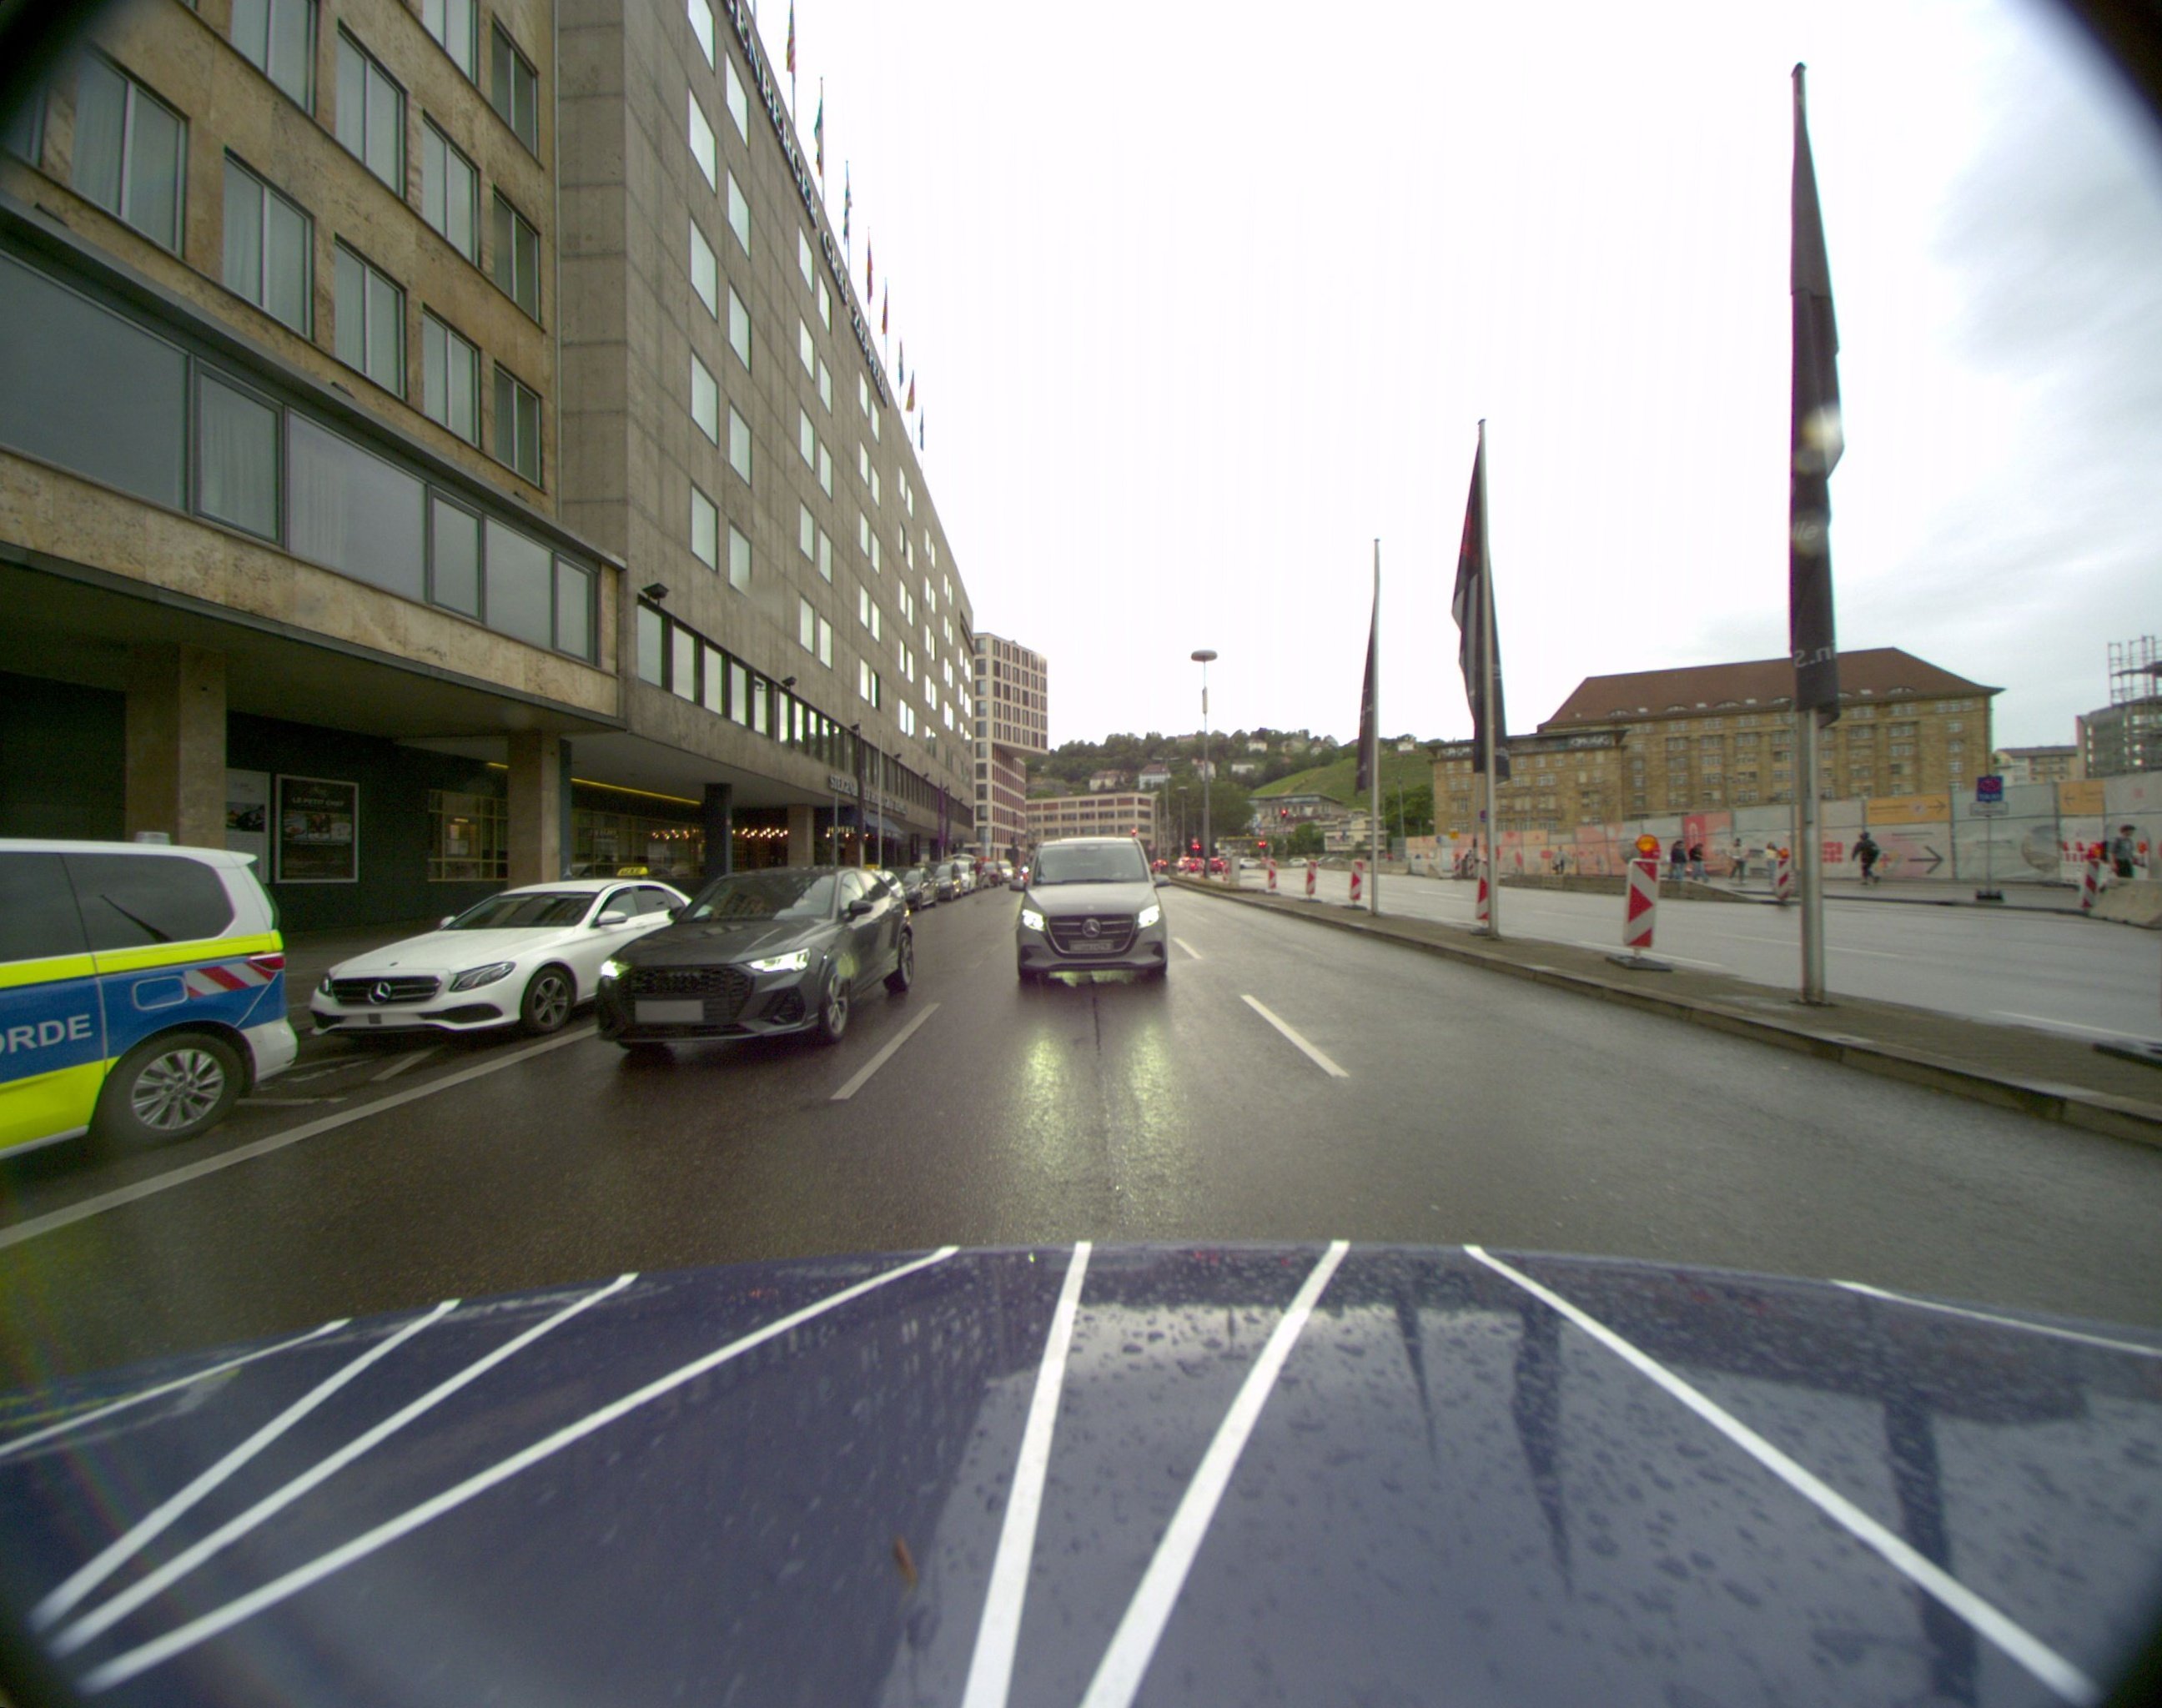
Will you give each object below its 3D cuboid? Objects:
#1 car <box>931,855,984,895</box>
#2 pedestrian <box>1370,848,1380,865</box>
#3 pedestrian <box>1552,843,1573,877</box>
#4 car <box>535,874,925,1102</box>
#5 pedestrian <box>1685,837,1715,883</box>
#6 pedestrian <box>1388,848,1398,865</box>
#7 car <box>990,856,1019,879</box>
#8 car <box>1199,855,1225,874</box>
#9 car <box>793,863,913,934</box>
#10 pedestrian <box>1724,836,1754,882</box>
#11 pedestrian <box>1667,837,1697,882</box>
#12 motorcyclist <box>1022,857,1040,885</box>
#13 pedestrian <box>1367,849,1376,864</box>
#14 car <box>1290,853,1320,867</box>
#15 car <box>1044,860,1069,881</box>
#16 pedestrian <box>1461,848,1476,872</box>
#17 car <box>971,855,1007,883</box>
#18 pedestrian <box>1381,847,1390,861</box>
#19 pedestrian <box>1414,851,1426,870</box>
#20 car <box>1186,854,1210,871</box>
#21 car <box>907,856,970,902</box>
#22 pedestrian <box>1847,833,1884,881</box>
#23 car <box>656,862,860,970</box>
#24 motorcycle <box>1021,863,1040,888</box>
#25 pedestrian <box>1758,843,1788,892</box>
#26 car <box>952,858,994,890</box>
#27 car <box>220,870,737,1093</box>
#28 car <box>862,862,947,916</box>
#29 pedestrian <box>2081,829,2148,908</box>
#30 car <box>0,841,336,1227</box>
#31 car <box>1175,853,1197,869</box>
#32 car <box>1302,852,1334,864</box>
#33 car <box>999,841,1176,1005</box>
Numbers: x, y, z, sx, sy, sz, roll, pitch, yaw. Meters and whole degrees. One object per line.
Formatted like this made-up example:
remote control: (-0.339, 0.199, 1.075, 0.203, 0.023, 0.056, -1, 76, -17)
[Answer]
car: (-6.088, 0.983, 37.958, 1.731, 1.732, 4.814, -2, 0, 0)
pedestrian: (28.229, 0.237, 72.967, 0.715, 1.606, 0.544, -2, 1, 1)
pedestrian: (26.291, 0.312, 41.468, 0.664, 1.825, 0.720, -2, 1, 1)
car: (-3.070, 1.062, 7.855, 1.883, 1.493, 4.342, -2, 0, 1)
pedestrian: (25.044, 0.244, 30.739, 0.714, 1.825, 0.718, -2, 1, 19)
pedestrian: (29.526, 0.249, 71.953, 0.715, 1.606, 0.544, -2, 1, 1)
car: (-5.900, 1.006, 58.965, 1.731, 1.604, 4.001, -2, 1, 0)
car: (12.411, 0.964, 72.200, 1.785, 1.684, 3.916, -1, 0, 0)
car: (-6.042, 1.104, 20.775, 1.731, 1.583, 4.814, -2, 0, 0)
pedestrian: (25.522, 0.185, 29.487, 0.714, 1.734, 0.564, -2, 1, 21)
pedestrian: (23.800, 0.205, 30.115, 0.714, 1.723, 0.718, -2, 1, 19)
motorcyclist: (-2.784, 0.931, 42.113, 0.861, 1.519, 0.844, -2, 1, 1)
pedestrian: (30.400, 0.255, 79.611, 0.715, 1.606, 0.544, -2, 1, 1)
car: (34.622, 0.926, 117.439, 4.194, 1.846, 1.832, -2, 1, 6)
car: (-1.951, 1.229, 59.486, 1.869, 1.461, 3.999, -2, 0, -3)
pedestrian: (26.916, 0.416, 52.739, 0.715, 1.606, 0.544, -2, 1, 1)
car: (-5.869, 0.948, 48.644, 1.731, 1.604, 4.001, -2, 1, 0)
pedestrian: (33.793, 0.011, 84.390, 0.715, 1.606, 0.544, -2, 1, 1)
pedestrian: (29.260, 0.538, 65.616, 0.715, 1.606, 0.544, -2, 1, 1)
car: (12.219, 0.839, 79.554, 1.785, 1.684, 3.916, -2, 1, -1)
car: (-6.051, 1.019, 32.761, 1.731, 1.732, 4.814, -2, 0, 0)
pedestrian: (27.168, 0.096, 26.319, 0.715, 1.606, 0.544, -2, 1, 1)
car: (-6.076, 1.059, 15.047, 1.879, 1.628, 4.814, -2, 0, 0)
motorcycle: (-2.776, 1.175, 42.177, 0.848, 1.299, 1.965, -2, 1, 1)
pedestrian: (26.106, 0.495, 28.663, 0.661, 1.825, 0.556, -2, 1, 21)
car: (-6.123, 1.095, 43.466, 1.731, 1.604, 4.001, -2, 1, 0)
car: (-6.095, 1.105, 8.767, 1.879, 1.628, 5.010, -2, 0, 0)
car: (-6.044, 1.138, 26.590, 1.731, 1.583, 4.814, -2, 0, 0)
pedestrian: (24.454, 0.334, 17.988, 0.587, 1.825, 0.717, -2, 1, 1)
car: (-6.325, 0.934, 2.961, 1.879, 1.909, 4.935, -2, 0, 0)
car: (11.838, 0.807, 86.020, 1.785, 1.684, 3.916, -2, 1, -1)
car: (32.077, 0.530, 102.762, 3.993, 1.622, 2.002, -1, 0, 14)
car: (0.116, 0.791, 11.458, 1.998, 1.849, 5.160, -2, 0, 1)
